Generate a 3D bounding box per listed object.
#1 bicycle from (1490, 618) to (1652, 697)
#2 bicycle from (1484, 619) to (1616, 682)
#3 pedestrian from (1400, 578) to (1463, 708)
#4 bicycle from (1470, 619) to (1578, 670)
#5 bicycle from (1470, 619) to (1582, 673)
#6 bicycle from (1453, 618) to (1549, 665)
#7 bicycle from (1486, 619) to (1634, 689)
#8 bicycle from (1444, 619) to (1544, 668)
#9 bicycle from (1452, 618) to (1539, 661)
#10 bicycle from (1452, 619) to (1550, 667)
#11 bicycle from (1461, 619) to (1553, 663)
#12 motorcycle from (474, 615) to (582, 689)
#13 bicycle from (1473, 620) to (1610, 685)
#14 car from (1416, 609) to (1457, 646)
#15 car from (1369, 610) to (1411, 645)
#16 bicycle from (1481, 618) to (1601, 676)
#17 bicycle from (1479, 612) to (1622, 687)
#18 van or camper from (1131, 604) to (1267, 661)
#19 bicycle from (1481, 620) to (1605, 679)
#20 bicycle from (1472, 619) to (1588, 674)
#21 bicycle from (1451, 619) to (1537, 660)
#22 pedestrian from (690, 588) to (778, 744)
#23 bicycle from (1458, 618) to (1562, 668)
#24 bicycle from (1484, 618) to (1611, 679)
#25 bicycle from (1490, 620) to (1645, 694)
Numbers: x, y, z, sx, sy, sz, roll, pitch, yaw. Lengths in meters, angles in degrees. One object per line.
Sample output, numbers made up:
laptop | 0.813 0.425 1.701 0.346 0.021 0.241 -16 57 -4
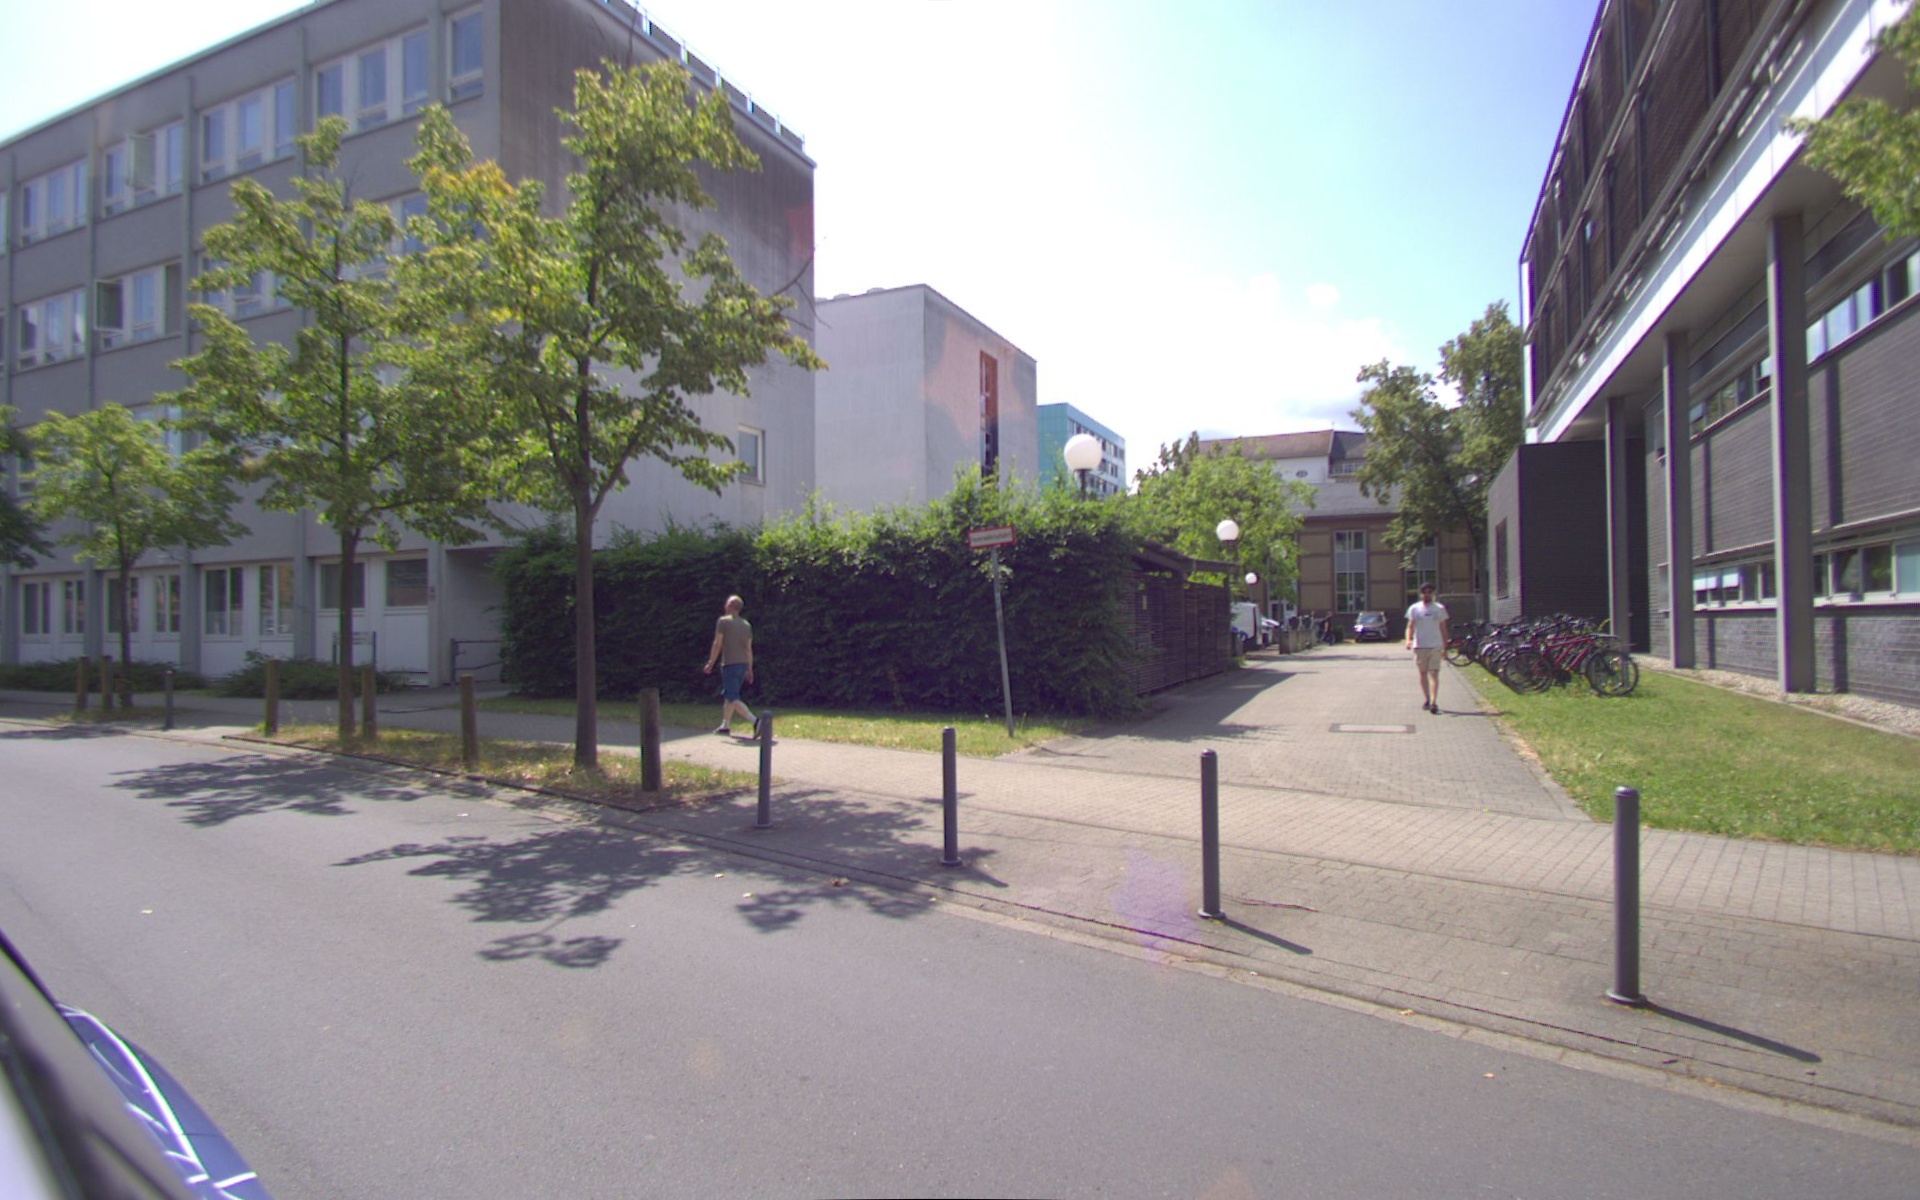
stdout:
bicycle | 9.378 0.879 15.612 2.037 1.171 0.577 -1 -2 23
bicycle | 10.998 0.941 18.941 2.037 1.131 0.544 -1 -2 23
pedestrian | 6.477 0.587 13.910 0.687 1.733 0.610 -2 -2 31
bicycle | 12.706 1.009 22.868 2.037 1.131 0.577 -1 -2 23
bicycle | 12.261 0.999 21.994 2.037 1.131 0.577 -1 -2 23
bicycle | 13.481 1.039 25.287 2.037 1.131 0.577 -1 -2 23
bicycle | 10.020 0.903 16.994 2.037 1.131 0.577 -1 -2 23
bicycle | 12.734 1.041 24.205 2.037 1.131 0.577 -1 -2 23
bicycle | 14.677 1.091 27.813 2.037 1.131 0.577 -1 -2 23
bicycle | 13.165 1.050 24.695 2.037 1.131 0.577 -1 -2 23
bicycle | 14.272 1.074 26.475 2.037 1.131 0.577 -1 -2 23
motorcycle | -9.611 1.132 22.622 1.074 1.562 2.087 -1 -2 21
bicycle | 10.420 0.938 18.207 2.037 1.131 0.577 -1 -2 23
car | 26.846 1.525 56.952 1.860 1.788 3.963 -2 1 28
car | 24.684 1.548 58.043 1.860 1.788 3.963 -2 1 28
bicycle | 11.785 0.955 20.601 2.037 1.131 0.577 -1 -2 23
bicycle | 10.226 0.861 17.606 2.037 1.252 0.577 -1 -2 23
van or camper | 7.733 1.054 32.706 4.073 1.752 1.744 -1 -1 22
bicycle | 11.495 0.972 20.033 2.037 1.131 0.577 -1 -2 23
bicycle | 12.020 0.976 21.407 2.037 1.131 0.577 -1 -2 23
bicycle | 14.973 1.108 28.431 2.037 1.131 0.577 -1 -2 23
pedestrian | -2.701 0.772 12.059 0.910 1.778 0.578 -2 -2 39
bicycle | 12.746 1.006 23.530 2.037 1.131 0.577 -1 -2 23
bicycle | 11.260 0.932 19.469 2.037 1.131 0.498 -1 -2 23
bicycle | 9.702 0.907 16.257 2.037 1.131 0.577 -1 -2 23
